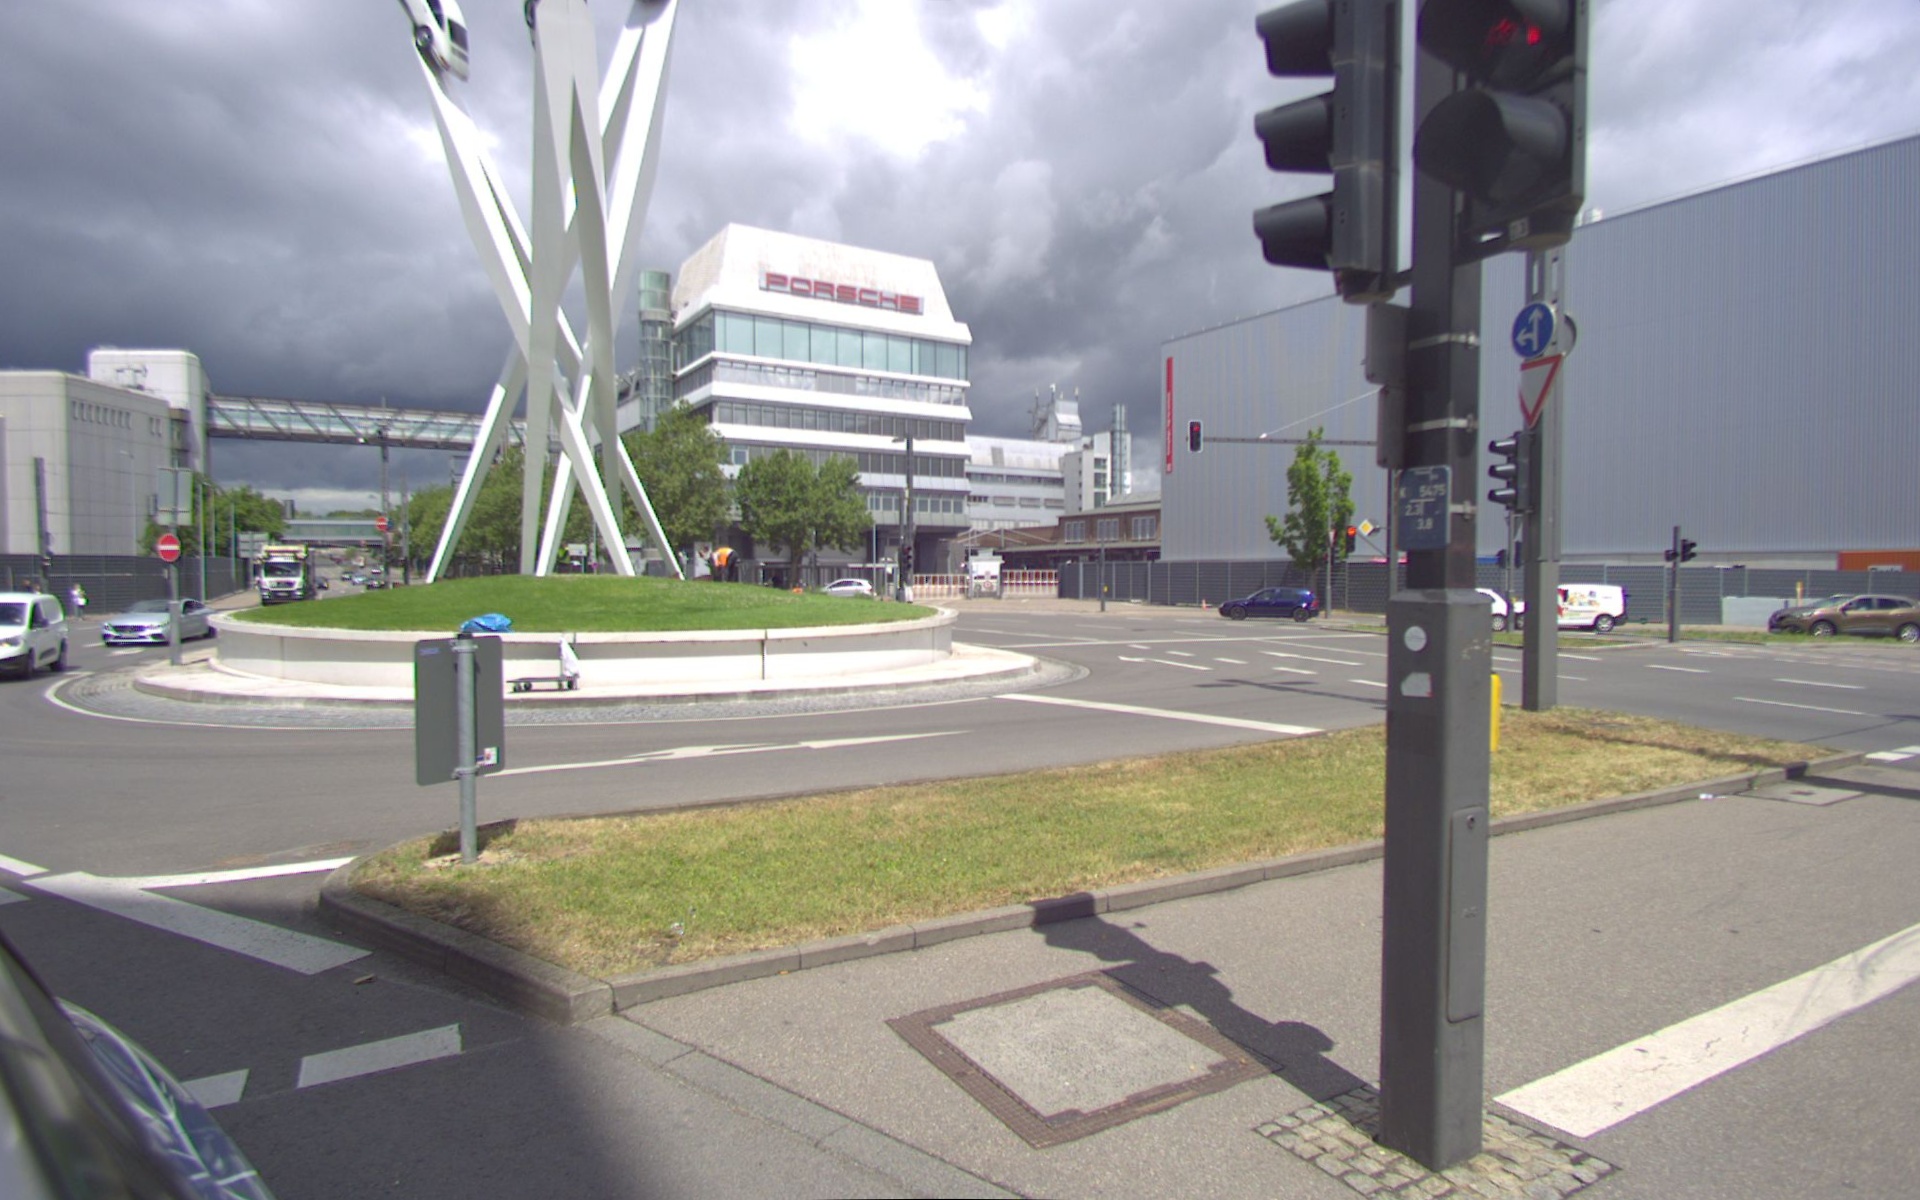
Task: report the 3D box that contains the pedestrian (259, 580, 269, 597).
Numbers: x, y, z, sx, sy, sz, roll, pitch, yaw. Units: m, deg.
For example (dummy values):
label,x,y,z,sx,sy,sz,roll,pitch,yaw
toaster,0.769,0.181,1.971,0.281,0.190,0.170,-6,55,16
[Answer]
label,x,y,z,sx,sy,sz,roll,pitch,yaw
pedestrian,-72.283,-1.235,105.119,0.784,1.733,0.733,-3,3,-36

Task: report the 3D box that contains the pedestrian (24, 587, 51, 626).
label,x,y,z,sx,sy,sz,roll,pitch,yaw
pedestrian,-39.709,0.286,43.561,0.462,1.627,0.658,0,3,20

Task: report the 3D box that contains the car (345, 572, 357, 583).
label,x,y,z,sx,sy,sz,roll,pitch,yaw
car,-118.413,-4.408,196.747,1.842,1.970,4.726,-3,4,-32

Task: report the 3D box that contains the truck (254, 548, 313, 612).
label,x,y,z,sx,sy,sz,roll,pitch,yaw
truck,-44.818,-1.355,67.315,2.669,3.914,10.774,-1,2,-31

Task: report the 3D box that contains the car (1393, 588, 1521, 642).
label,x,y,z,sx,sy,sz,roll,pitch,yaw
car,17.813,0.522,36.455,3.738,1.810,1.904,0,3,13

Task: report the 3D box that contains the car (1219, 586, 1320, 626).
label,x,y,z,sx,sy,sz,roll,pitch,yaw
car,12.913,0.225,42.261,3.930,1.568,1.791,0,3,22

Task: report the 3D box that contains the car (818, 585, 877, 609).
label,x,y,z,sx,sy,sz,roll,pitch,yaw
car,-7.318,-0.205,66.122,3.564,1.492,1.810,-1,3,5

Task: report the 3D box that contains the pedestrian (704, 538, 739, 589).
label,x,y,z,sx,sy,sz,roll,pitch,yaw
pedestrian,-7.099,-1.081,30.110,0.842,1.417,0.967,5,1,-10

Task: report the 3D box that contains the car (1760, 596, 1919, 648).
label,x,y,z,sx,sy,sz,roll,pitch,yaw
car,29.351,0.719,33.406,4.190,1.556,1.808,0,3,10

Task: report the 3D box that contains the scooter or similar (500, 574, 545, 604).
label,x,y,z,sx,sy,sz,roll,pitch,yaw
scooter or similar,-16.099,-0.424,37.225,0.549,1.033,1.387,-2,1,38

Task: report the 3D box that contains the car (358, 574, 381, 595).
label,x,y,z,sx,sy,sz,roll,pitch,yaw
car,-60.553,-1.596,103.775,1.842,1.970,4.726,-3,4,-32

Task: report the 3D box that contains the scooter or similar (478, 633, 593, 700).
label,x,y,z,sx,sy,sz,roll,pitch,yaw
scooter or similar,-5.977,0.928,14.318,1.244,0.854,0.909,-1,1,-1

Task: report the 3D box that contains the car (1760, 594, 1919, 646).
label,x,y,z,sx,sy,sz,roll,pitch,yaw
car,29.314,0.658,33.389,4.178,1.568,1.820,0,3,11

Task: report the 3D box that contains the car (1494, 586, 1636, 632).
label,x,y,z,sx,sy,sz,roll,pitch,yaw
car,23.284,0.334,39.102,4.245,1.636,1.994,0,3,11

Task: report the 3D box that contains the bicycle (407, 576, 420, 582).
label,x,y,z,sx,sy,sz,roll,pitch,yaw
bicycle,-120.858,-4.615,223.726,2.520,1.093,0.618,-2,3,-27

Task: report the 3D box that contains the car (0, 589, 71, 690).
label,x,y,z,sx,sy,sz,roll,pitch,yaw
car,-21.078,0.800,22.001,1.795,2.029,4.404,0,0,-30

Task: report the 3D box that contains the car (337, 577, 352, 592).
label,x,y,z,sx,sy,sz,roll,pitch,yaw
car,-95.419,-2.411,156.789,1.842,1.970,4.726,-3,4,-32

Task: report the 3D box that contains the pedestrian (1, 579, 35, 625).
label,x,y,z,sx,sy,sz,roll,pitch,yaw
pedestrian,-39.891,0.085,42.871,0.656,1.880,0.789,0,3,19

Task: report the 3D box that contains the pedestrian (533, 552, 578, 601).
label,x,y,z,sx,sy,sz,roll,pitch,yaw
pedestrian,-15.232,-0.874,38.111,0.986,1.830,1.268,1,0,41

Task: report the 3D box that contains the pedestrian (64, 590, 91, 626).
label,x,y,z,sx,sy,sz,roll,pitch,yaw
pedestrian,-40.441,0.355,46.382,0.650,1.620,0.826,-2,3,-22

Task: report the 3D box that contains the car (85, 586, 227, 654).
label,x,y,z,sx,sy,sz,roll,pitch,yaw
car,-25.804,0.575,32.703,1.841,1.970,4.725,2,1,-15
